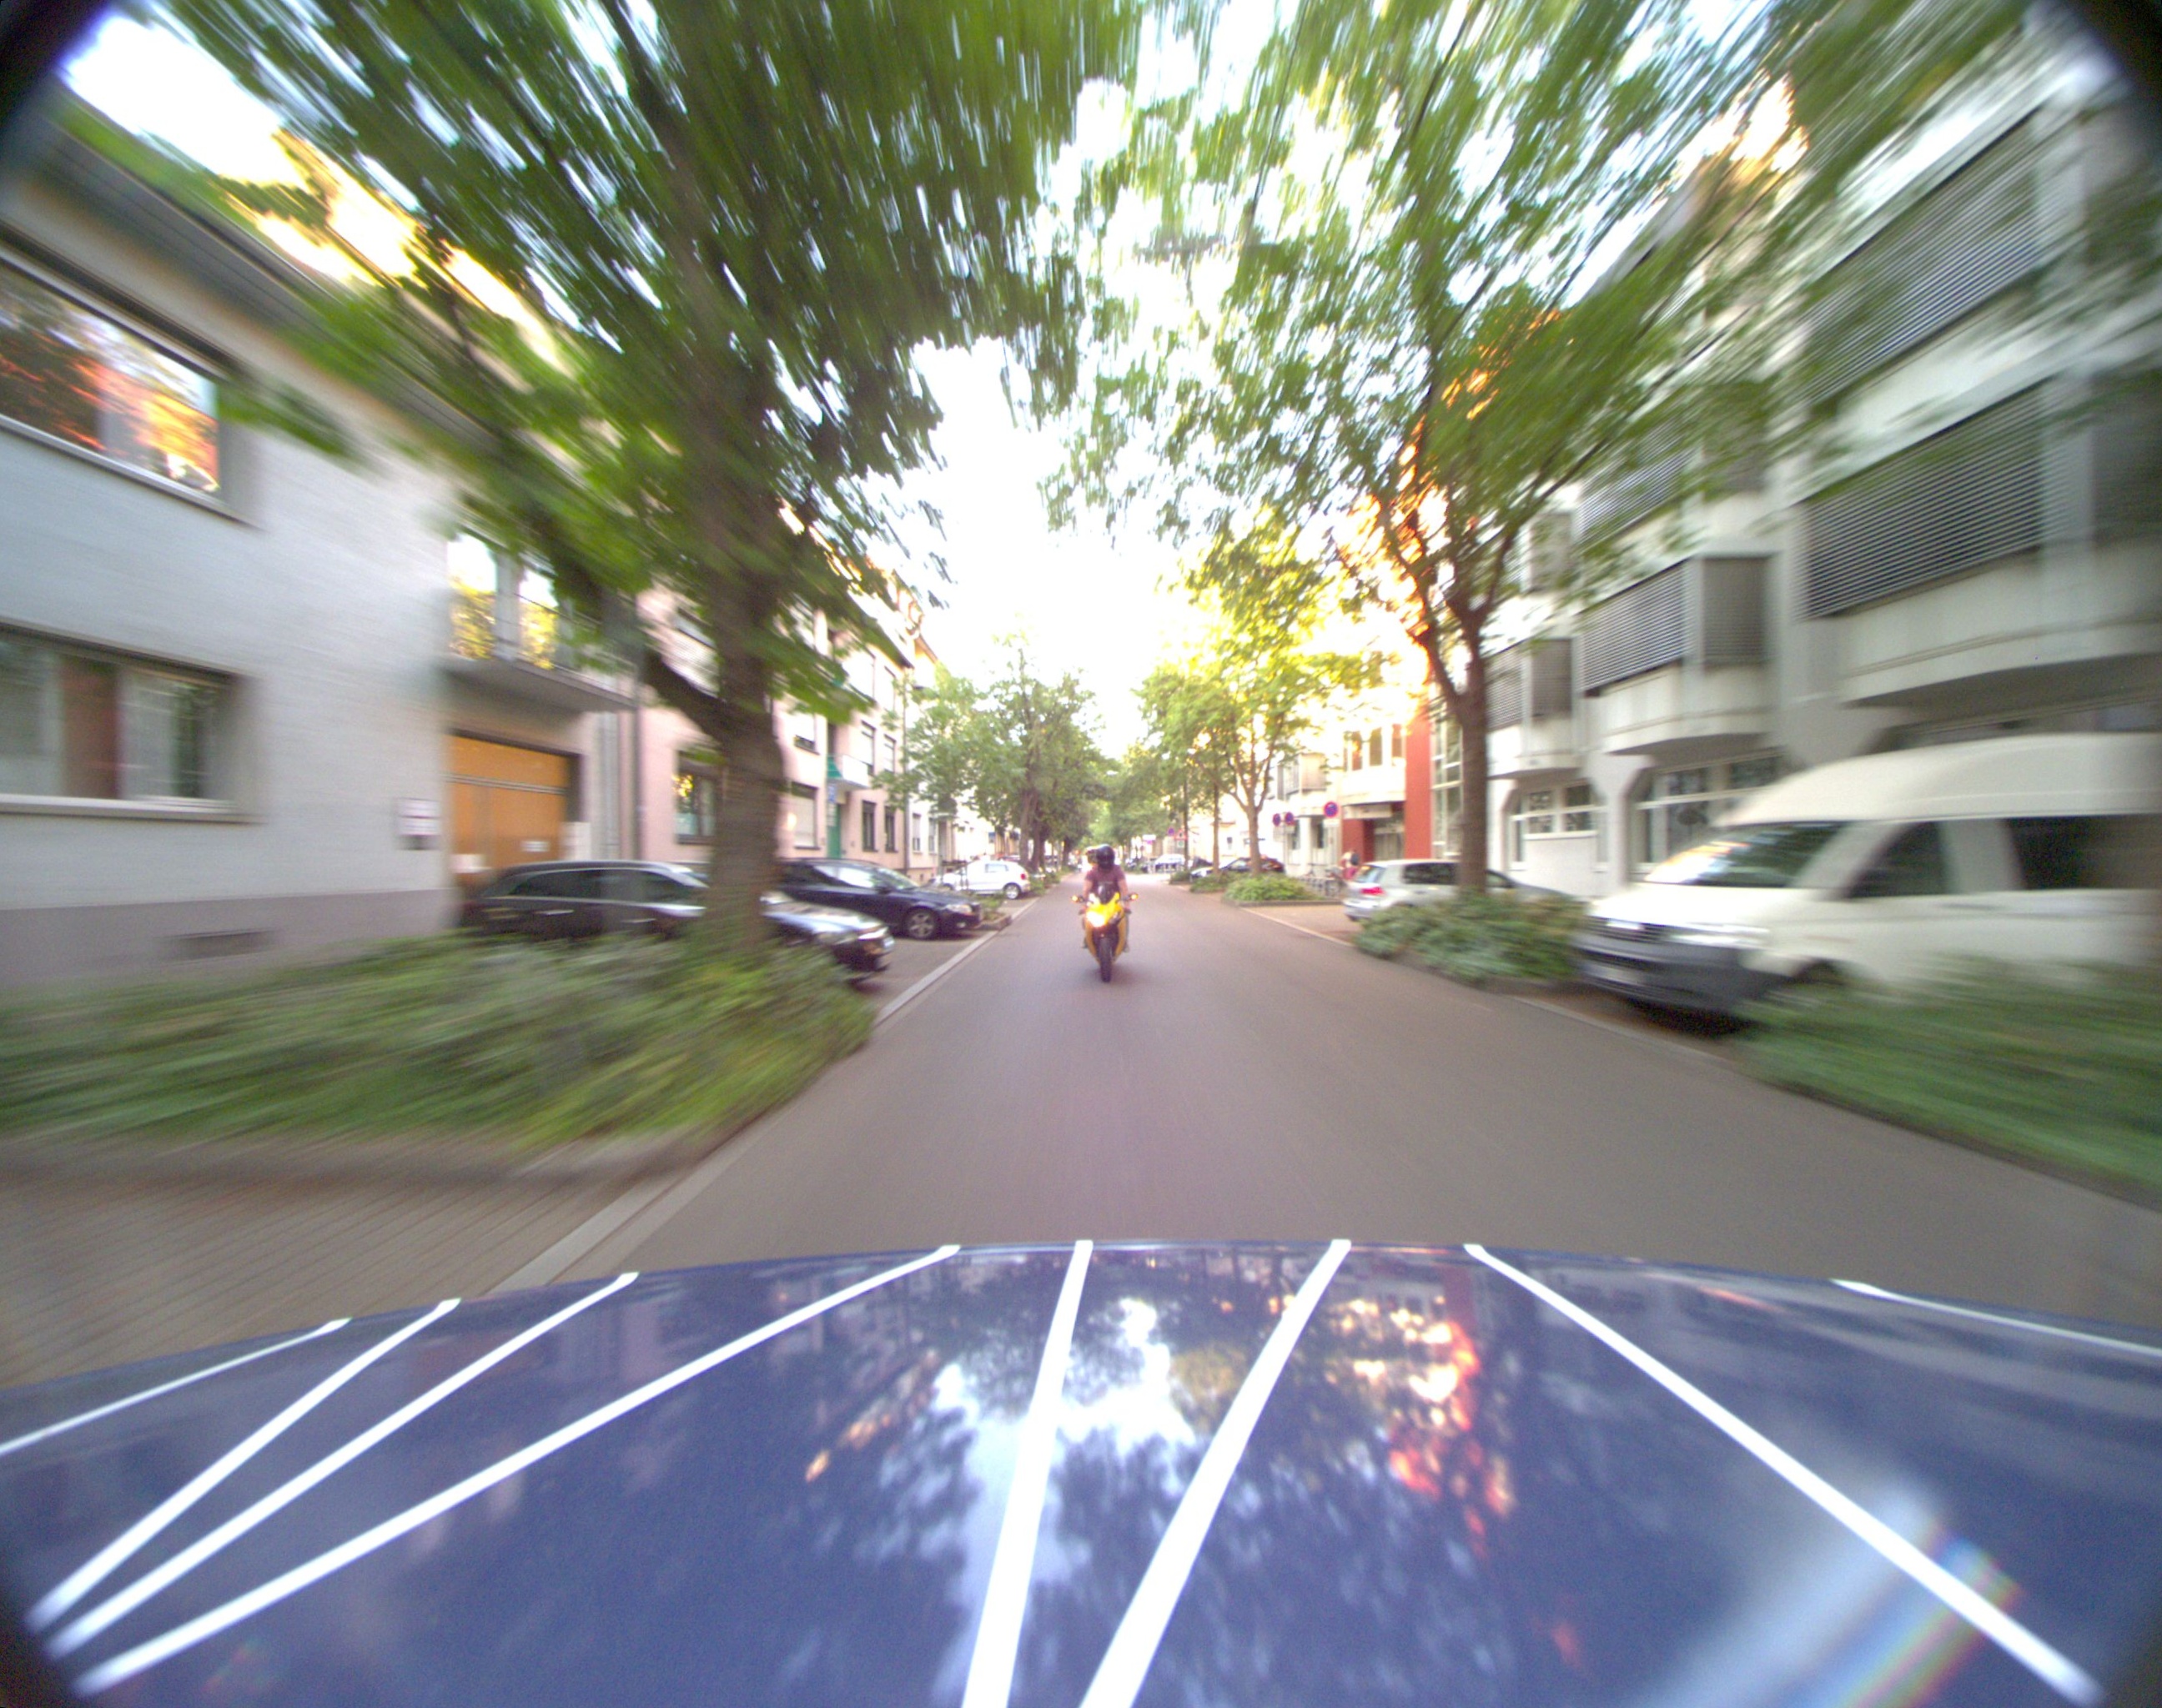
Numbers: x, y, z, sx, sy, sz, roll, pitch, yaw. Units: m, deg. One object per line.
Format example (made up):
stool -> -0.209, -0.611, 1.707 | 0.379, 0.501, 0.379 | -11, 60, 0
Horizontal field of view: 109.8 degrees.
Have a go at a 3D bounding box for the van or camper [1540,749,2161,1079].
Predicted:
van or camper -> 6.960, 0.438, 6.535 | 4.829, 2.413, 1.945 | 0, 1, 1

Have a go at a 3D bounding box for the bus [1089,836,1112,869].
bus -> 2.427, -0.186, 96.536 | 2.833, 4.086, 7.831 | 0, 0, 1

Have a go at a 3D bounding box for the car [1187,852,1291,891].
car -> 7.362, 0.789, 35.700 | 4.475, 1.748, 1.791 | 0, 0, -3

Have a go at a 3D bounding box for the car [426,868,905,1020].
car -> -4.507, 0.935, 8.774 | 4.456, 1.515, 1.952 | 0, 0, 2

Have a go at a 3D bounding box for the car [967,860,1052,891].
car -> -3.459, 1.032, 36.981 | 3.857, 1.390, 1.675 | 1, 0, 4

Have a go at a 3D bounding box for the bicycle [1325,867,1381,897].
bicycle -> 9.225, 0.936, 25.810 | 0.456, 0.981, 1.750 | -1, 1, -43

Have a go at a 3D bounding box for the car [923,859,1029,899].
car -> -3.939, 0.950, 28.965 | 3.859, 1.390, 1.674 | 1, 0, -3

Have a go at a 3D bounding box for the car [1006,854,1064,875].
car -> -3.164, 0.723, 52.753 | 3.858, 1.390, 1.675 | 1, 0, 1

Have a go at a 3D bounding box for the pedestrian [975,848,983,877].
pedestrian -> -7.123, 0.593, 53.029 | 0.449, 2.002, 0.485 | 0, 1, 1

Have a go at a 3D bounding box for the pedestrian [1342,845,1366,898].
pedestrian -> 9.110, 0.572, 25.400 | 0.637, 1.734, 0.679 | 0, 1, 10

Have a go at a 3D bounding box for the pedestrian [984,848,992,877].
pedestrian -> -6.519, 0.589, 53.167 | 0.449, 2.002, 0.485 | 0, 1, 1

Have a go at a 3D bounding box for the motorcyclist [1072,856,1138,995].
motorcyclist -> 0.275, 0.831, 9.303 | 0.722, 1.605, 0.915 | -1, 1, -2

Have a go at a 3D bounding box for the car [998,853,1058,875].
car -> -3.490, 0.645, 50.670 | 3.858, 1.390, 1.675 | 1, 0, 1

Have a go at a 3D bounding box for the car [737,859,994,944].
car -> -4.177, 0.904, 15.156 | 4.594, 1.461, 1.696 | 1, 0, 2

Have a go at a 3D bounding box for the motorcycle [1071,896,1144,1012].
motorcycle -> 0.269, 1.132, 9.207 | 0.736, 1.115, 2.107 | -1, 0, -2

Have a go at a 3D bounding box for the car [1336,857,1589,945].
car -> 7.224, 0.872, 14.704 | 4.063, 1.519, 1.622 | -1, 0, 4

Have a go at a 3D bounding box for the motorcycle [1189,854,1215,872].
motorcycle -> 8.207, 0.623, 51.463 | 1.626, 1.136, 0.572 | -2, 1, 3

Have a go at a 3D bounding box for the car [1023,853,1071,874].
car -> -2.845, 0.792, 64.646 | 3.998, 1.752, 1.999 | 0, 0, -2

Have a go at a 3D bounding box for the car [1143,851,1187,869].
car -> 7.774, 0.553, 70.677 | 3.858, 1.623, 1.675 | 1, 0, 1

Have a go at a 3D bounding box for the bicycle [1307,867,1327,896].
bicycle -> 8.435, 0.960, 27.126 | 0.454, 0.981, 1.758 | 0, 0, 25

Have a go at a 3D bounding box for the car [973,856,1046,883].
car -> -3.917, 0.829, 42.060 | 3.858, 1.390, 1.675 | 1, 0, 1
